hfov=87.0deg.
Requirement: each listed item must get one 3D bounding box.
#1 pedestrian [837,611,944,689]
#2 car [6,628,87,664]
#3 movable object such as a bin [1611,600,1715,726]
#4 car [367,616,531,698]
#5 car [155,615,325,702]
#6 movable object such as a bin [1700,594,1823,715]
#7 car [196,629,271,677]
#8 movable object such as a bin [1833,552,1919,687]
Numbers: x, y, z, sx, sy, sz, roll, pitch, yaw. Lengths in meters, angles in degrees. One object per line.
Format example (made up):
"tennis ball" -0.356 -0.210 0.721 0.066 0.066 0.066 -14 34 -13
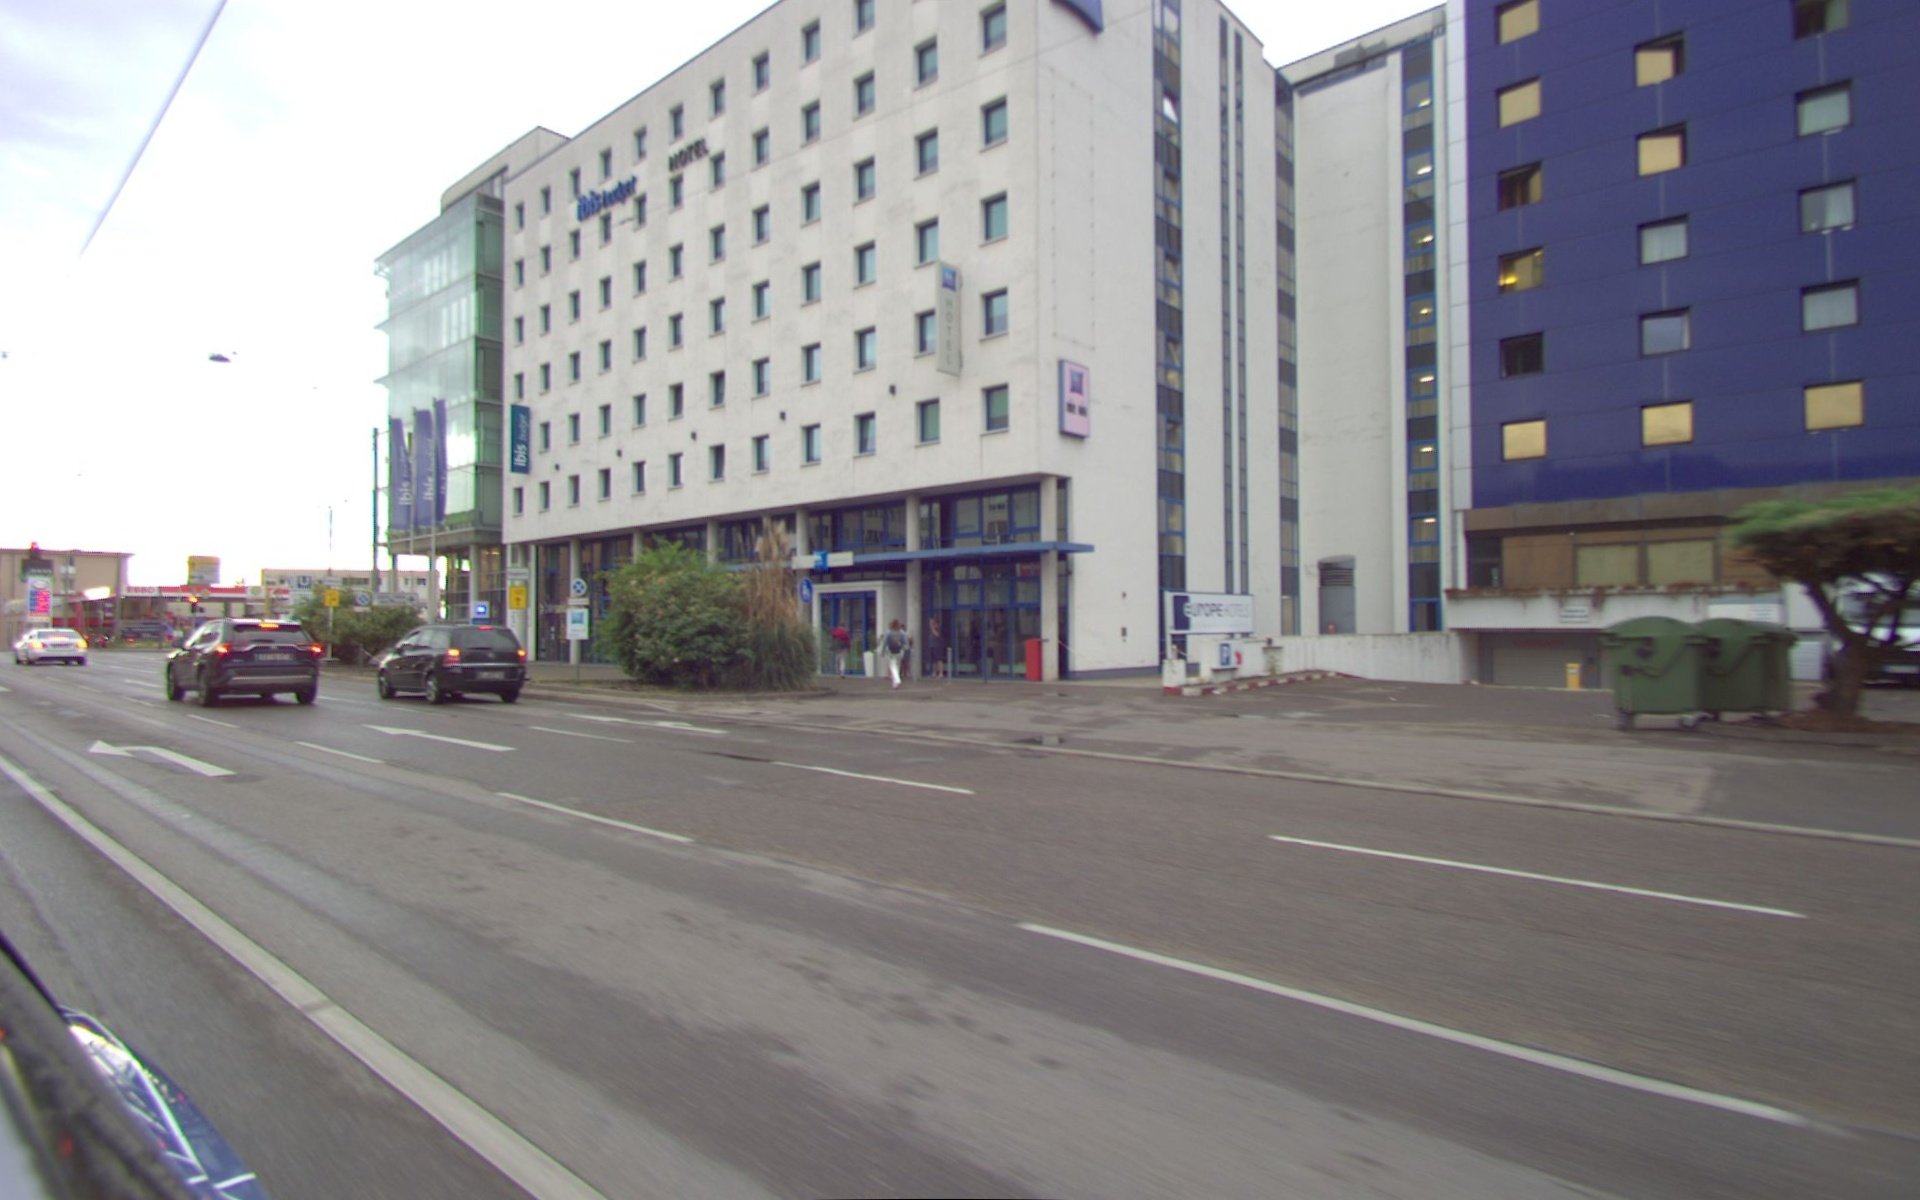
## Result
"pedestrian" -1.662 1.176 24.117 1.966 1.733 1.700 -1 -2 -30
"car" -37.076 1.820 41.040 4.960 1.397 1.798 -1 -2 41
"movable object such as a bin" 8.979 0.818 12.955 0.949 1.502 1.378 -4 -5 35
"car" -10.917 1.212 21.519 4.032 1.578 1.690 -2 -5 42
"car" -14.582 1.186 20.400 4.447 1.568 1.738 -3 -5 41
"movable object such as a bin" 10.557 0.706 13.321 1.372 1.502 0.953 4 -2 -38
"car" -24.471 1.744 34.036 1.711 1.488 4.707 4 -3 -39
"movable object such as a bin" 20.571 0.528 22.145 2.161 2.648 5.567 1 -2 41
